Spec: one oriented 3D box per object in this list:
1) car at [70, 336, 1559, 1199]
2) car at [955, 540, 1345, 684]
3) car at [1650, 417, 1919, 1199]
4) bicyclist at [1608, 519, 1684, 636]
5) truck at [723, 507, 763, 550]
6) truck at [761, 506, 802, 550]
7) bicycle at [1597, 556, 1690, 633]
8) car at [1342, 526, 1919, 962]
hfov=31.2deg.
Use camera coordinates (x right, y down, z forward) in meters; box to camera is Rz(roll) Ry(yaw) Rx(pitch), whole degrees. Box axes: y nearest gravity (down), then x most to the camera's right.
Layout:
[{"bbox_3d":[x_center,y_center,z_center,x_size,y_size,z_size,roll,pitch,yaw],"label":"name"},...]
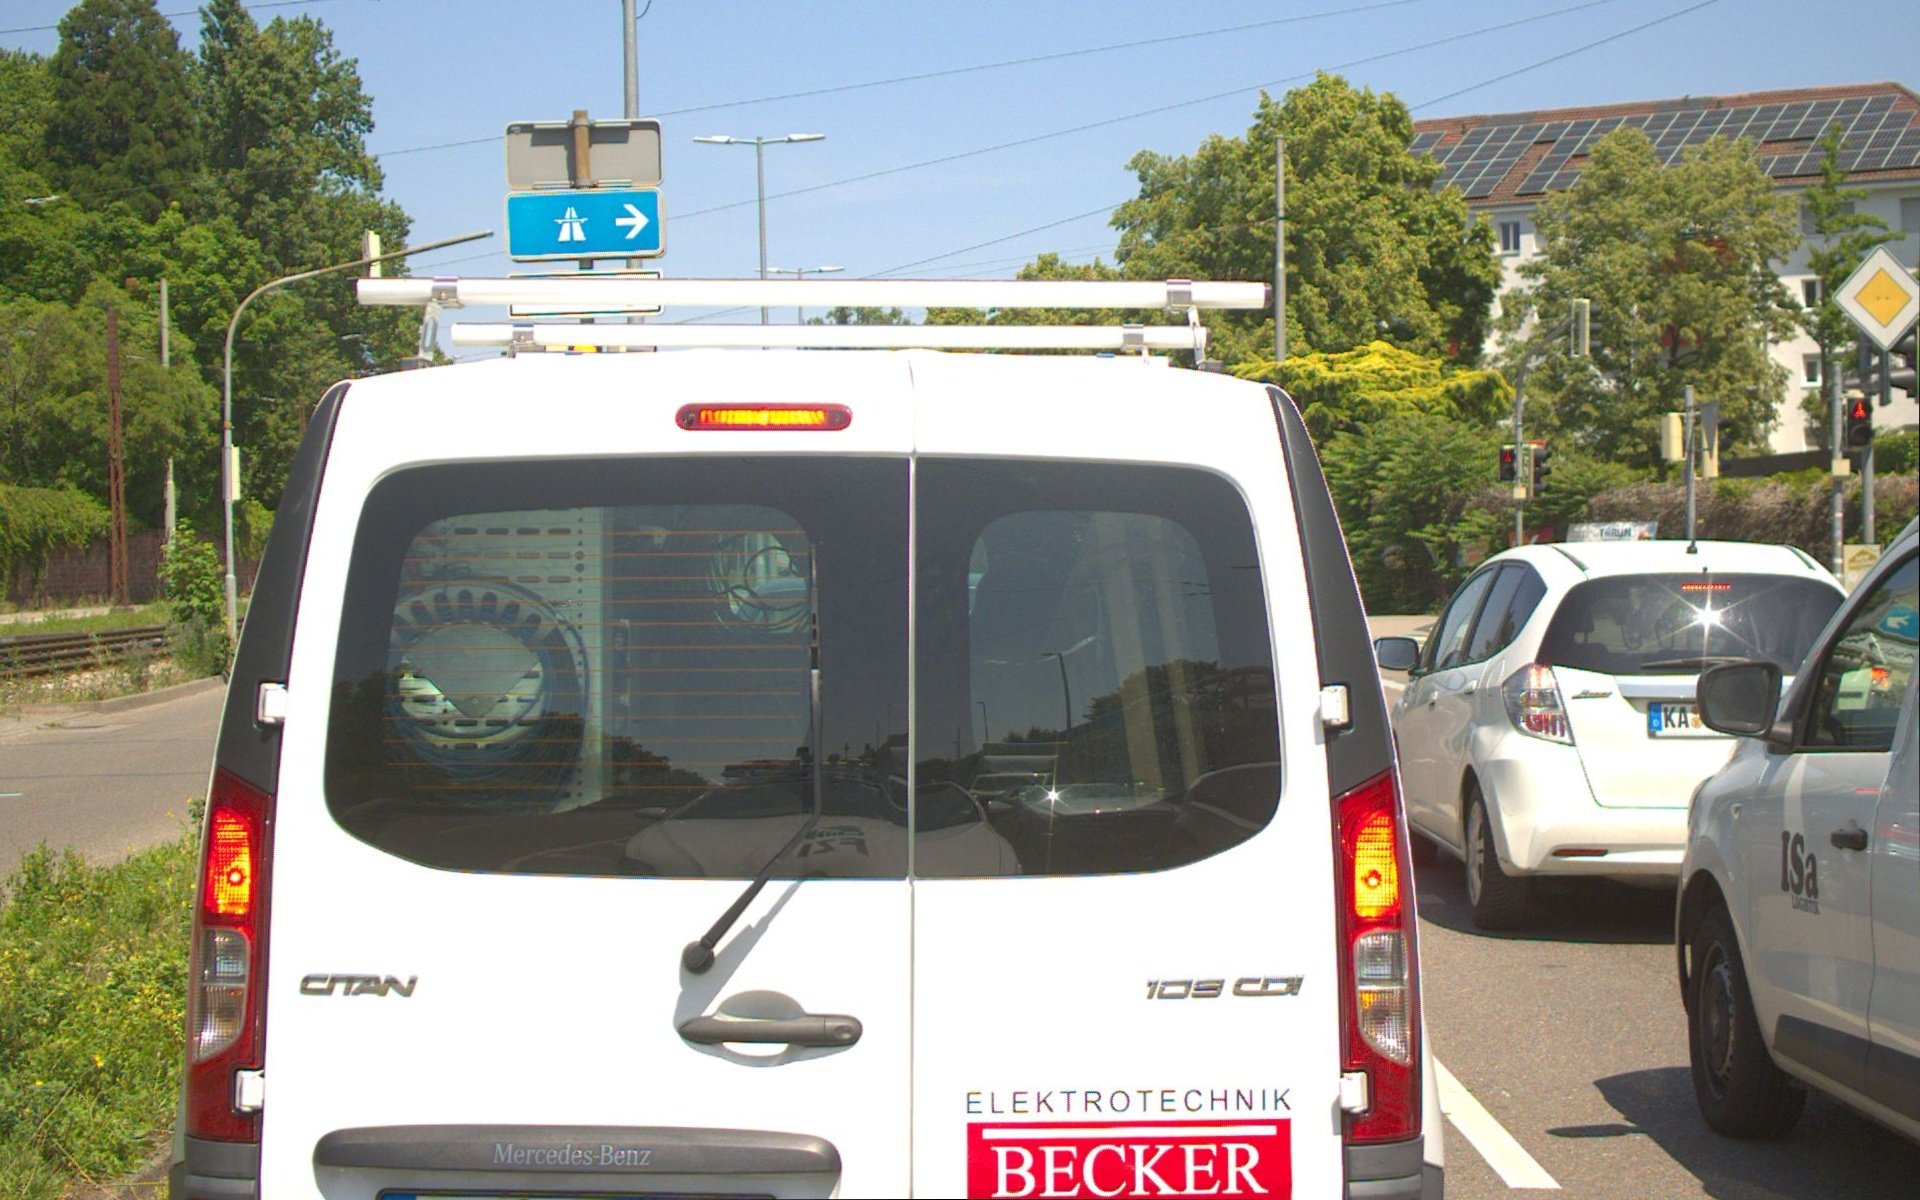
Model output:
[{"bbox_3d":[-0.207,0.524,6.431,1.821,1.734,4.396,1,1,-1],"label":"car"},{"bbox_3d":[2.081,0.113,38.096,3.995,1.514,1.749,0,0,35],"label":"car"},{"bbox_3d":[2.790,0.528,7.248,1.727,1.782,4.065,1,1,-2],"label":"car"},{"bbox_3d":[10.585,-0.346,53.087,0.973,1.782,0.726,0,0,-5],"label":"bicyclist"},{"bbox_3d":[-13.517,-4.425,214.240,2.139,2.579,5.890,1,1,-1],"label":"truck"},{"bbox_3d":[-10.665,-4.300,205.761,2.139,2.579,5.890,1,1,-1],"label":"truck"},{"bbox_3d":[10.547,-0.097,53.109,0.892,1.155,1.956,0,1,-5],"label":"bicycle"},{"bbox_3d":[2.800,0.489,14.643,1.835,1.563,4.000,1,1,-1],"label":"car"}]
